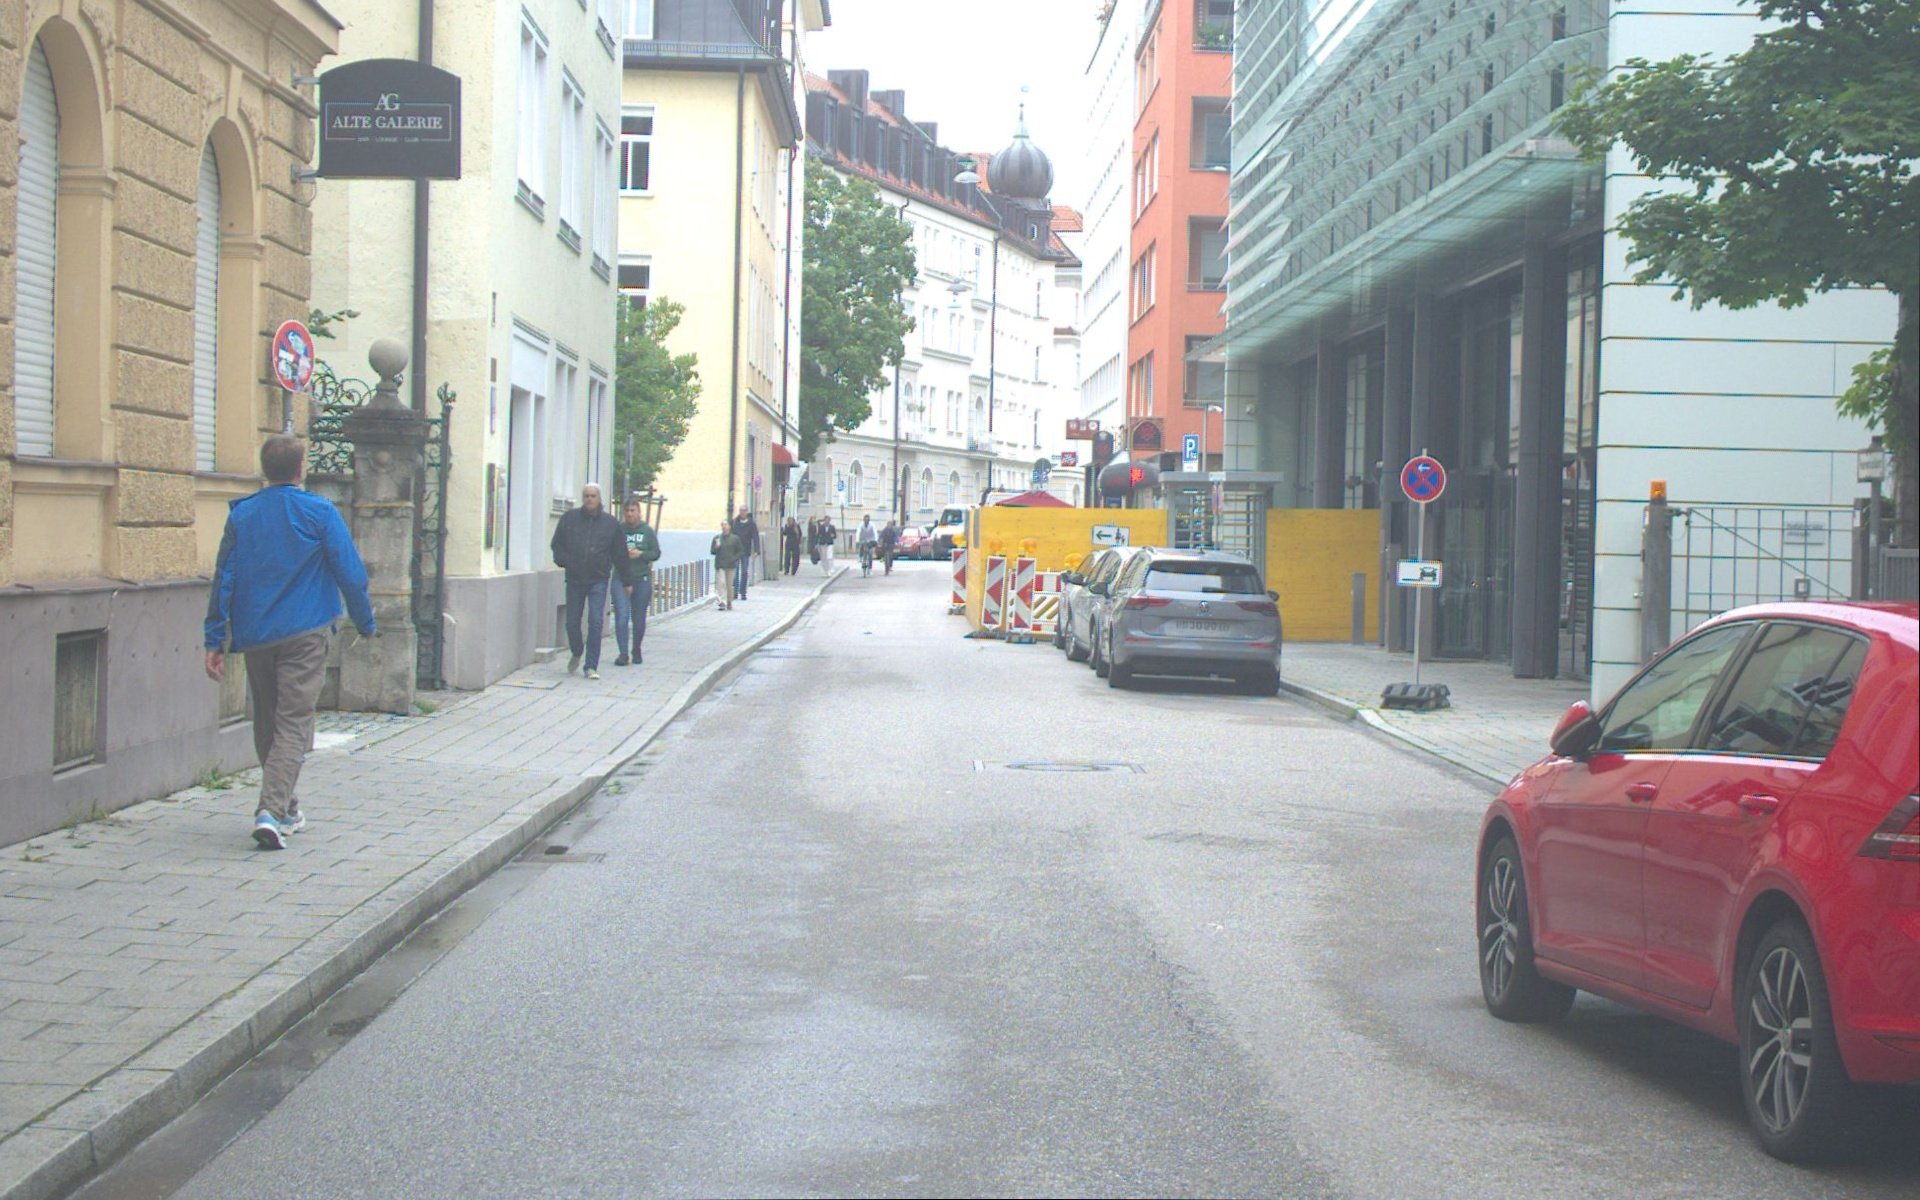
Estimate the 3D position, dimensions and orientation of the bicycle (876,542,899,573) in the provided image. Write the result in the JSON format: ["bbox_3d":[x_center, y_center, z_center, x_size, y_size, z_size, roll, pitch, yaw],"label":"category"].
[{"bbox_3d":[-2.226,-1.311,105.563,0.707,0.902,1.809,1,1,-1],"label":"bicycle"}]

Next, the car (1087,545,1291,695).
[{"bbox_3d":[2.351,0.161,36.254,1.708,1.427,4.330,2,1,-2],"label":"car"}]

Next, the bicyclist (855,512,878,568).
[{"bbox_3d":[-2.772,-1.779,102.101,0.659,1.637,0.895,1,1,-1],"label":"bicyclist"}]

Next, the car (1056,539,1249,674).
[{"bbox_3d":[2.272,0.037,41.547,1.707,1.462,4.238,3,1,-4],"label":"car"}]

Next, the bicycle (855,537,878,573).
[{"bbox_3d":[-2.781,-1.349,102.158,0.661,1.035,2.005,1,1,-1],"label":"bicycle"}]

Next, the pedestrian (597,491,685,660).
[{"bbox_3d":[-3.268,-0.257,35.262,0.712,1.660,0.930,4,1,-1],"label":"pedestrian"}]

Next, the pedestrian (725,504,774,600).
[{"bbox_3d":[-4.208,-0.968,68.708,0.867,1.875,1.135,2,1,-2],"label":"pedestrian"}]

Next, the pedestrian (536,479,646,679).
[{"bbox_3d":[-3.460,-0.207,32.270,0.905,1.821,0.956,2,1,-2],"label":"pedestrian"}]

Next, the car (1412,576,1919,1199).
[{"bbox_3d":[2.771,0.726,10.228,1.760,1.442,4.300,3,1,-7],"label":"car"}]

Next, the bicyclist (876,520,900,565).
[{"bbox_3d":[-2.223,-1.773,105.606,0.707,1.366,0.813,1,1,-1],"label":"bicyclist"}]

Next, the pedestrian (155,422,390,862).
[{"bbox_3d":[-3.030,0.169,15.251,0.757,1.848,1.077,3,1,-1],"label":"pedestrian"}]

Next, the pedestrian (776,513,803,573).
[{"bbox_3d":[-4.742,-1.596,95.775,0.670,1.642,0.761,2,1,-2],"label":"pedestrian"}]

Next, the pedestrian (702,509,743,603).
[{"bbox_3d":[-4.317,-0.806,62.520,0.647,1.670,0.724,2,1,-2],"label":"pedestrian"}]

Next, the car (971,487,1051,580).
[{"bbox_3d":[1.431,-1.922,98.807,1.993,2.528,4.976,2,1,-2],"label":"car"}]

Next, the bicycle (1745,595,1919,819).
[{"bbox_3d":[5.443,0.633,21.282,0.707,1.194,1.834,1,4,0],"label":"bicycle"}]

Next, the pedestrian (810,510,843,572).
[{"bbox_3d":[-3.712,-1.632,95.531,0.839,1.694,0.803,2,1,-1],"label":"pedestrian"}]
